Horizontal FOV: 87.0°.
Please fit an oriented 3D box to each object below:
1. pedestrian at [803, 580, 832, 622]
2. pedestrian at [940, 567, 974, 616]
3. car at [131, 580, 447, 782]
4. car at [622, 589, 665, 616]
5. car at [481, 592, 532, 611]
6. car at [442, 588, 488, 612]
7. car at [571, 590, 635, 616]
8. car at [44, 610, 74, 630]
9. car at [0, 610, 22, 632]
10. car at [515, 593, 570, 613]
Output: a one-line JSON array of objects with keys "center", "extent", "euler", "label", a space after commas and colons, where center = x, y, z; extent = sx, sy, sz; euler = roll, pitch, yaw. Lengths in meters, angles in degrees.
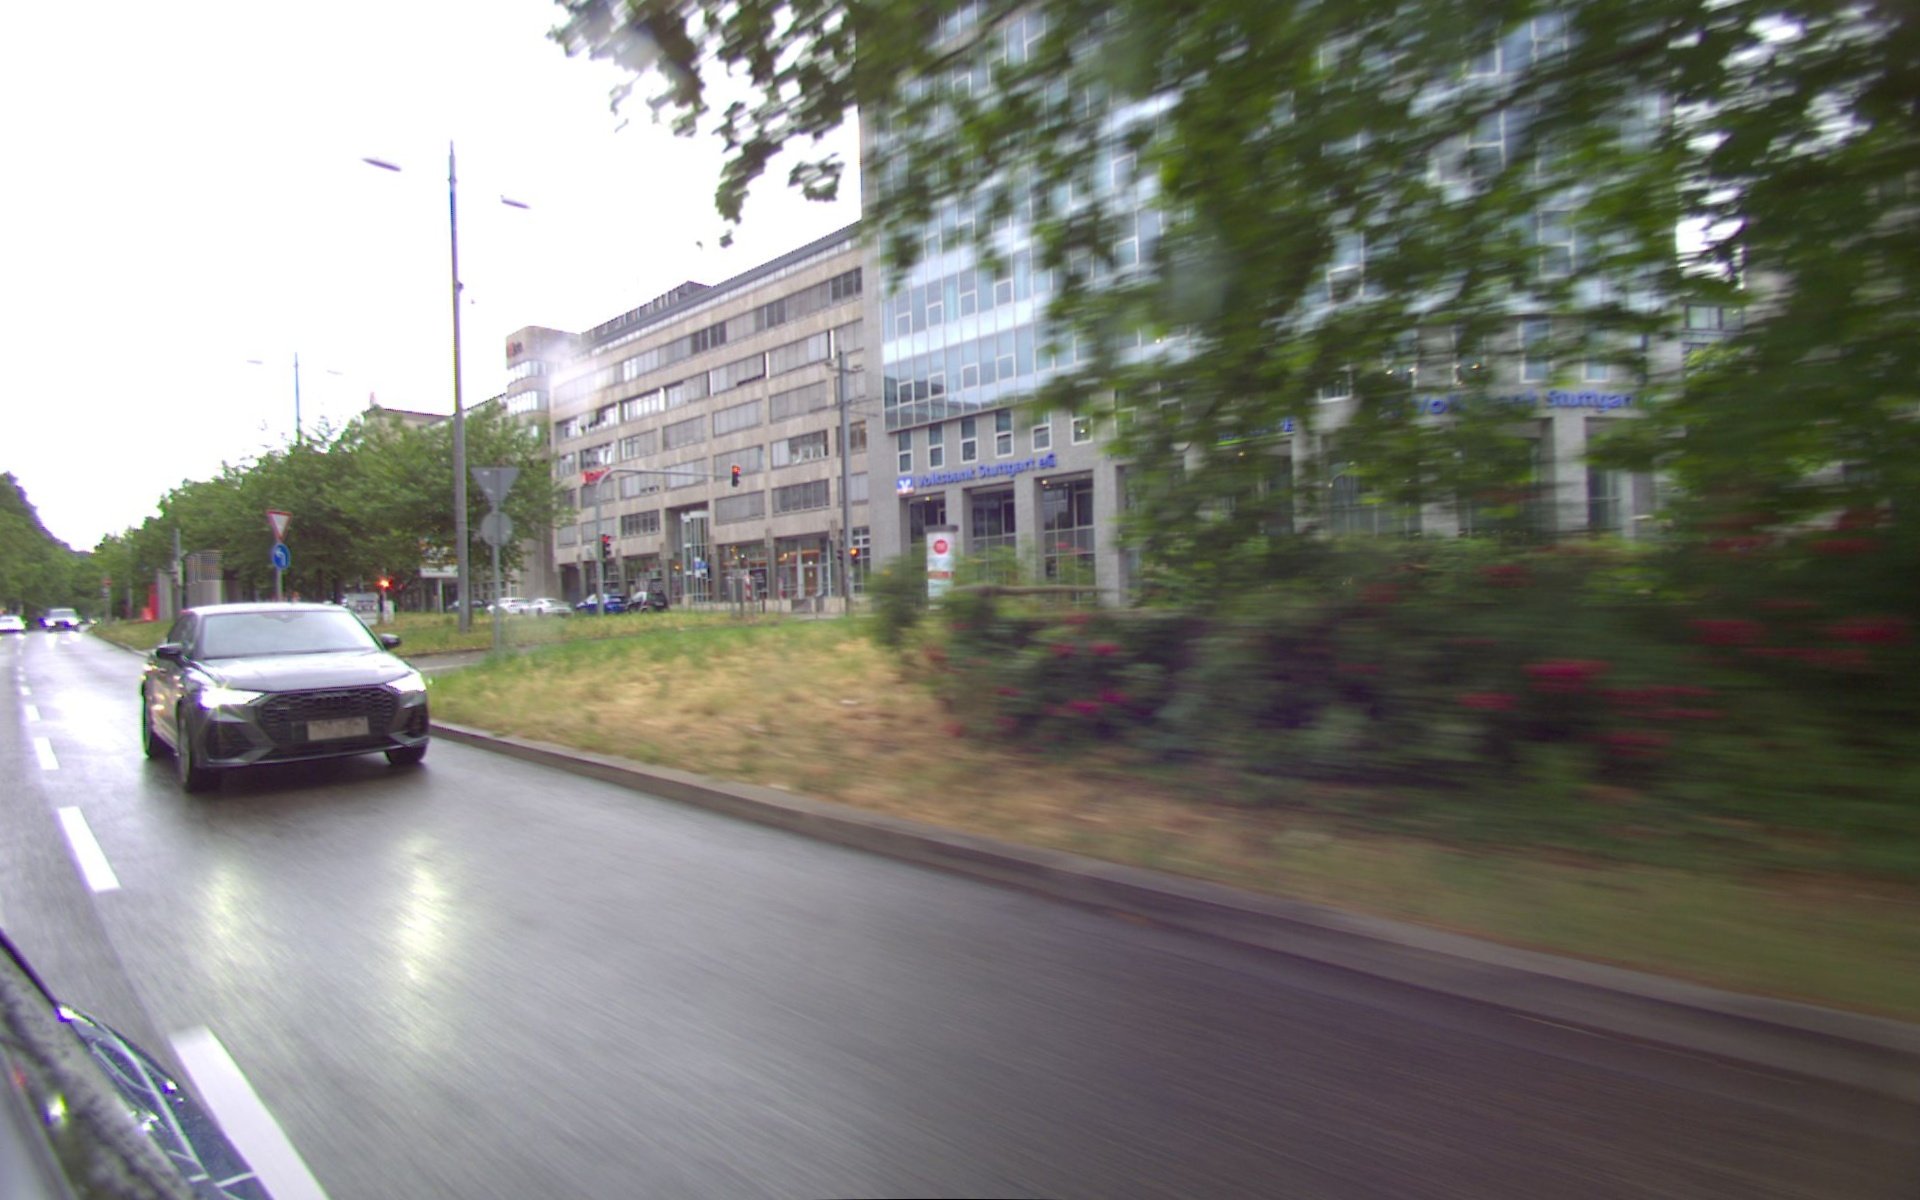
[{"center": [-6.511, 0.029, 46.242], "extent": [0.930, 1.895, 0.948], "euler": [0, 0, 33], "label": "pedestrian"}, {"center": [-0.123, -0.346, 42.886], "extent": [1.032, 2.029, 1.044], "euler": [0, 0, 33], "label": "pedestrian"}, {"center": [-6.717, 0.625, 9.910], "extent": [1.839, 1.529, 4.349], "euler": [-1, 0, -44], "label": "car"}, {"center": [-17.704, 0.149, 56.591], "extent": [1.226, 1.395, 2.629], "euler": [-4, 2, -44], "label": "car"}, {"center": [-30.473, 0.106, 67.990], "extent": [4.106, 1.130, 1.554], "euler": [-1, 2, 42], "label": "car"}, {"center": [-35.950, -0.011, 73.448], "extent": [4.106, 1.592, 1.554], "euler": [-1, 2, 42], "label": "car"}, {"center": [-21.152, 0.188, 59.907], "extent": [4.319, 1.395, 1.658], "euler": [-1, 2, 42], "label": "car"}, {"center": [-70.287, 1.544, 78.914], "extent": [1.583, 1.395, 3.022], "euler": [-4, 2, -44], "label": "car"}, {"center": [-74.529, 1.647, 78.822], "extent": [2.043, 1.599, 4.111], "euler": [-4, 2, -44], "label": "car"}, {"center": [-26.492, 0.187, 64.142], "extent": [4.106, 1.130, 1.554], "euler": [-1, 2, 42], "label": "car"}]
